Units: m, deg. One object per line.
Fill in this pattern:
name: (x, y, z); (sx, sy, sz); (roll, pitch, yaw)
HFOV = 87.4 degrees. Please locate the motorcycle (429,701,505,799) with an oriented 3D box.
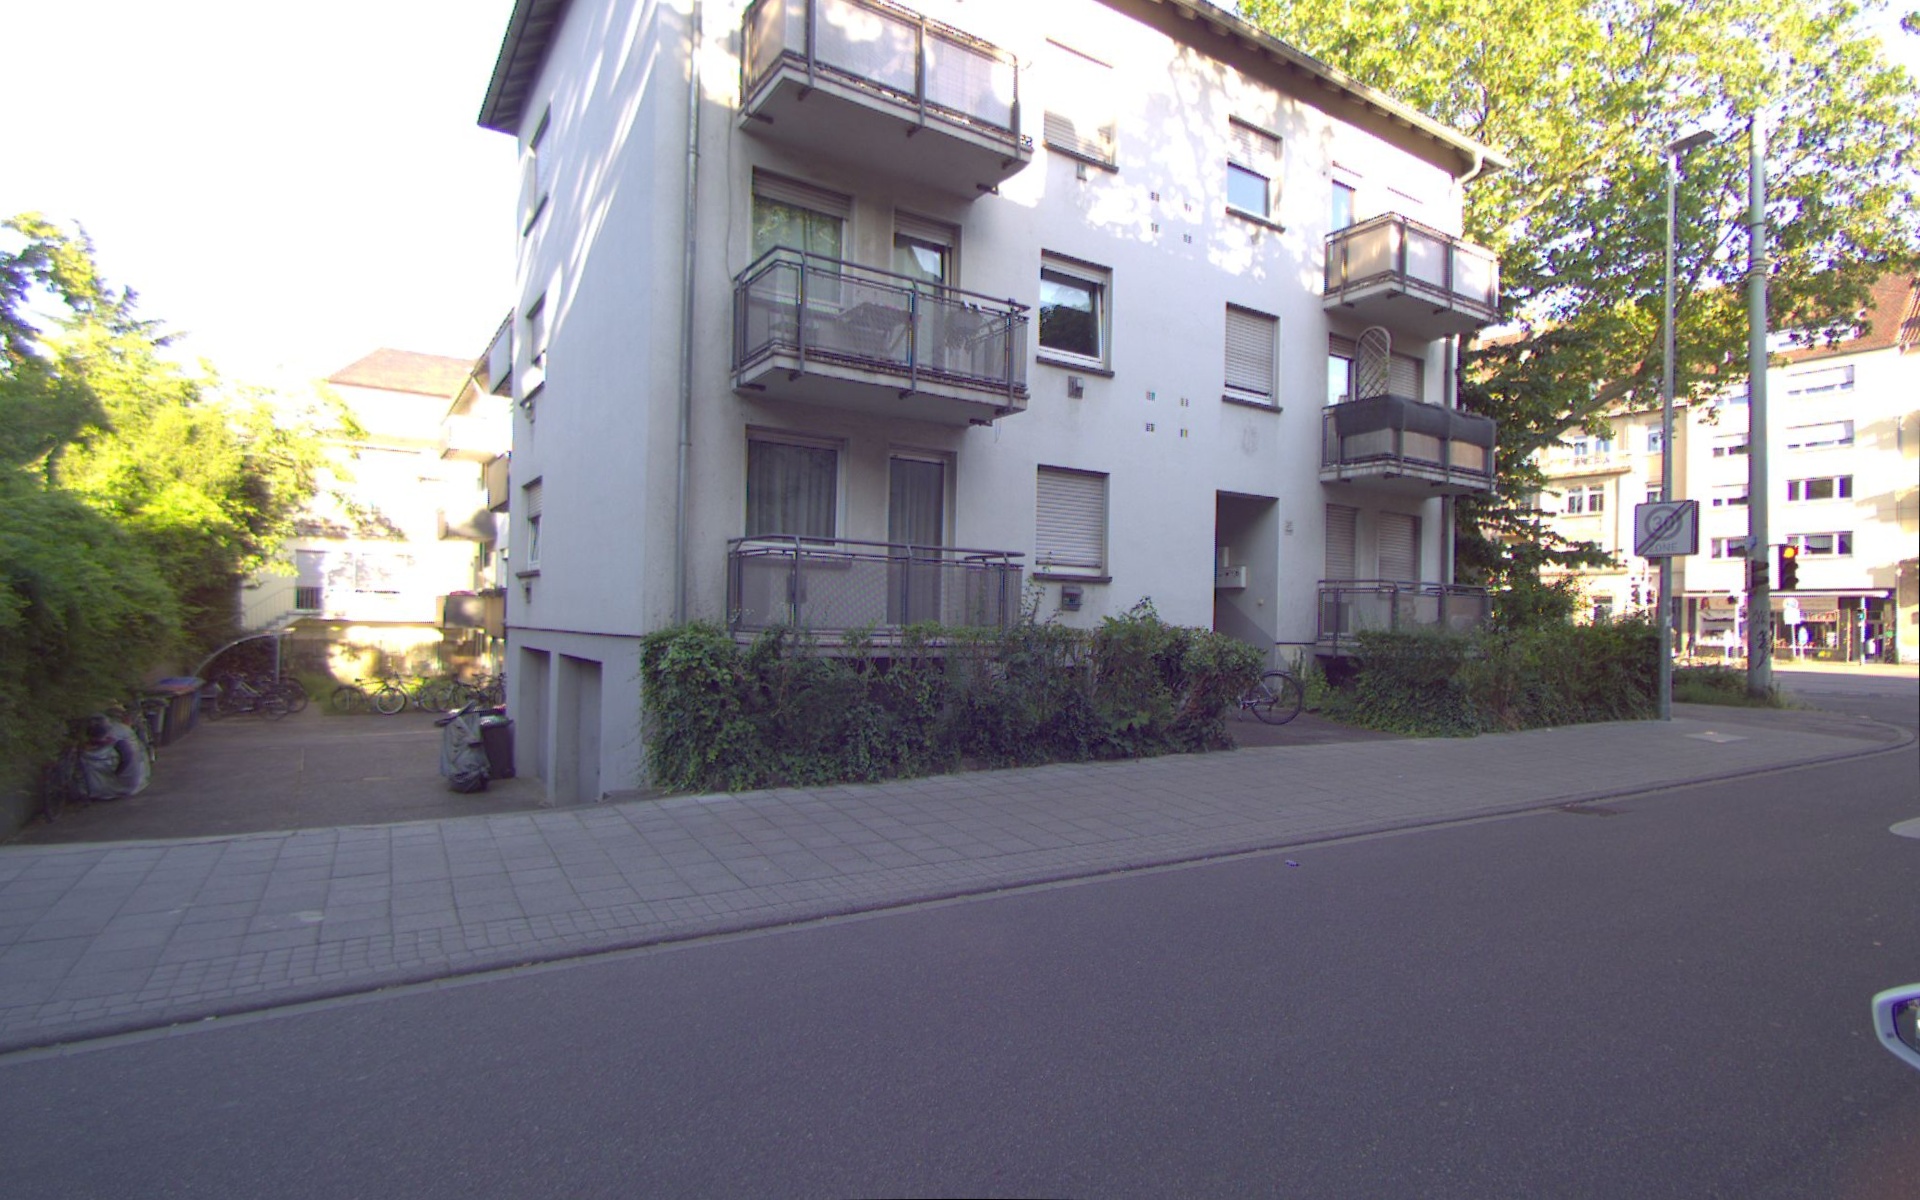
motorcycle: (-7.395, 2.195, 15.029); (0.751, 1.268, 1.577); (1, -2, -36)

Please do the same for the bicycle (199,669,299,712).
bicycle: (-18.616, 2.376, 26.365); (2.045, 1.034, 0.611); (4, 0, -30)

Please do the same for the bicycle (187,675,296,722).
bicycle: (-17.498, 2.408, 24.517); (2.045, 1.034, 0.637); (4, 0, -30)

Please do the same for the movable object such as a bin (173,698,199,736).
movable object such as a bin: (-16.400, 2.472, 21.291); (0.362, 0.768, 0.361); (2, -4, -30)

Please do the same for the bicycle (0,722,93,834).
bicycle: (-10.992, 2.091, 12.075); (0.509, 1.033, 1.922); (3, -1, -32)

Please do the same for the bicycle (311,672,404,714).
bicycle: (-15.915, 2.466, 26.580); (2.045, 1.034, 0.637); (4, 0, -30)

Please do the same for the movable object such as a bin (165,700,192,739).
movable object such as a bin: (-16.020, 2.437, 20.601); (0.371, 0.768, 0.361); (2, -4, -30)

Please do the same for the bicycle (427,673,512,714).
bicycle: (-13.620, 2.600, 27.932); (2.045, 1.034, 0.637); (4, 0, -30)

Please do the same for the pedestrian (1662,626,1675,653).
pedestrian: (40.766, 2.258, 57.763); (0.558, 1.531, 0.499); (0, -1, 41)

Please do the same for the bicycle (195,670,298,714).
bicycle: (-18.215, 2.364, 25.688); (2.045, 1.034, 0.568); (4, 0, -30)

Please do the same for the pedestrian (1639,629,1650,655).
pedestrian: (40.949, 2.533, 60.111); (0.501, 1.531, 0.535); (0, -1, 33)

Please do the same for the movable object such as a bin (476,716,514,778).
movable object such as a bin: (-7.498, 2.359, 16.189); (0.428, 0.899, 0.720); (1, -2, -34)

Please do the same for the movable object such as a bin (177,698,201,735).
movable object such as a bin: (-16.594, 2.499, 21.616); (0.342, 0.768, 0.361); (2, -4, -30)

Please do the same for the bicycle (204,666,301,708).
bicycle: (-19.086, 2.363, 27.138); (2.045, 1.034, 0.611); (4, 0, -30)

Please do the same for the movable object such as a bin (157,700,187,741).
movable object such as a bin: (-15.670, 2.398, 19.974); (0.393, 0.784, 0.361); (2, -4, -30)

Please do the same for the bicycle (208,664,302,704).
bicycle: (-19.457, 2.332, 27.779); (2.045, 1.034, 0.564); (4, 0, -30)

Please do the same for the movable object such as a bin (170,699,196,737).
movable object such as a bin: (-16.207, 2.459, 20.950); (0.362, 0.768, 0.361); (2, -4, -30)

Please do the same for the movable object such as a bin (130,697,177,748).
movable object such as a bin: (-14.948, 2.265, 18.627); (0.570, 0.891, 0.491); (2, -4, -30)

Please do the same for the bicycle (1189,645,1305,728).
bicycle: (3.885, 1.150, 13.620); (1.433, 0.988, 0.407); (3, 0, 21)

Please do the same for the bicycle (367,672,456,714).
bicycle: (-14.845, 2.532, 27.215); (2.045, 1.034, 0.637); (4, 0, -30)

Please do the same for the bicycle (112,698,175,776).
bicycle: (-13.219, 2.180, 16.299); (0.509, 1.033, 1.922); (3, -1, -32)

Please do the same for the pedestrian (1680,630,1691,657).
pedestrian: (41.872, 2.508, 57.970); (0.467, 1.531, 0.429); (0, -1, 41)
